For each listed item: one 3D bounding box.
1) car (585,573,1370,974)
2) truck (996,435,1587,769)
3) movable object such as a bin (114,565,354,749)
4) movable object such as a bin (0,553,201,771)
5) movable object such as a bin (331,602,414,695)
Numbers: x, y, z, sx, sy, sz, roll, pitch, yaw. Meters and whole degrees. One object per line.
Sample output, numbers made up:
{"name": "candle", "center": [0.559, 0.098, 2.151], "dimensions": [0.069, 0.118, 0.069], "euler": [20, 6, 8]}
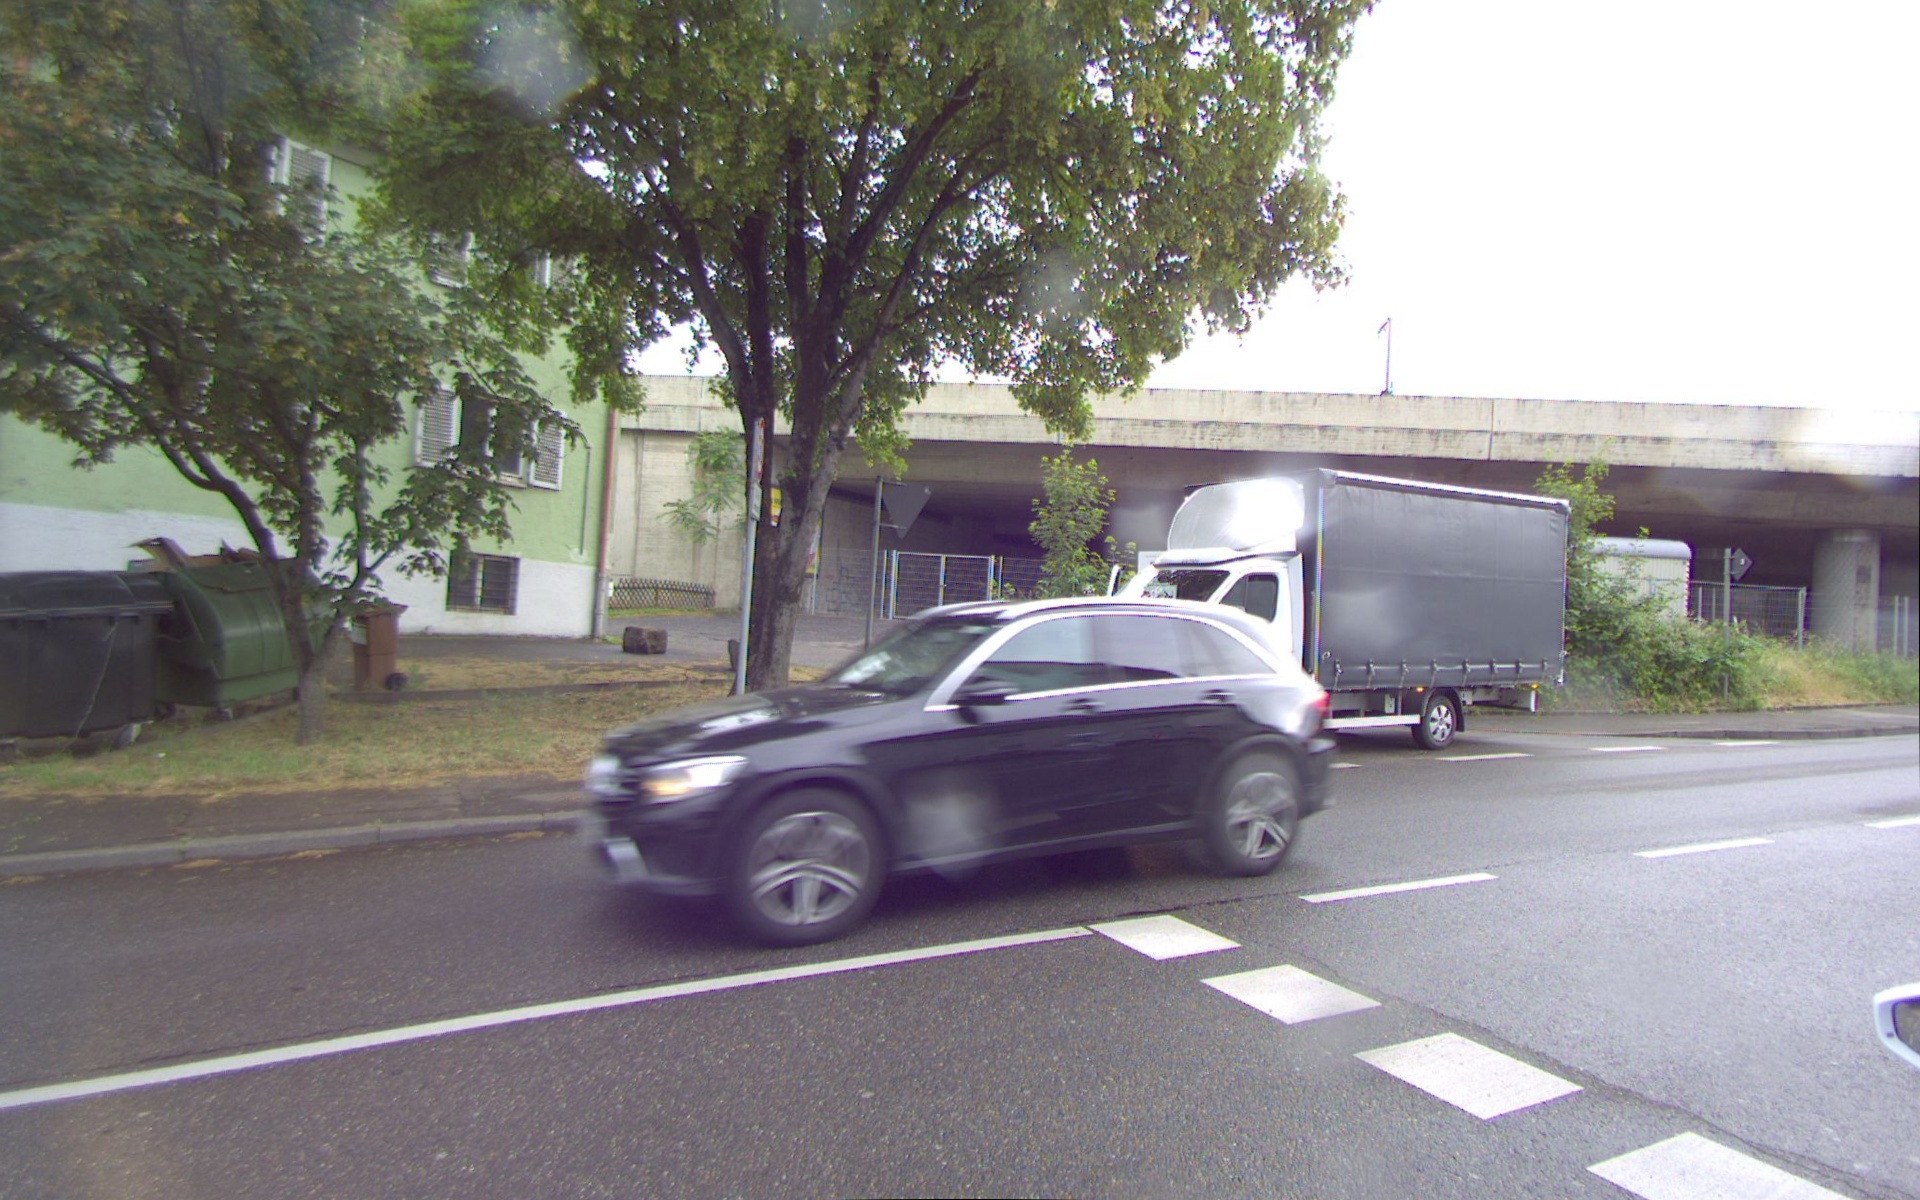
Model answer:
{"name": "car", "center": [0.215, 0.782, 6.069], "dimensions": [4.382, 1.648, 1.906], "euler": [2, -1, -30]}
{"name": "truck", "center": [4.457, 0.174, 12.853], "dimensions": [7.681, 3.279, 2.599], "euler": [3, -1, -29]}
{"name": "movable object such as a bin", "center": [-6.733, 0.466, 9.416], "dimensions": [1.078, 1.457, 1.463], "euler": [5, 5, 13]}
{"name": "movable object such as a bin", "center": [-7.301, 0.413, 8.052], "dimensions": [1.268, 1.457, 1.463], "euler": [5, 5, 13]}
{"name": "movable object such as a bin", "center": [-6.358, 0.527, 10.898], "dimensions": [0.715, 0.970, 0.554], "euler": [3, -1, -30]}
